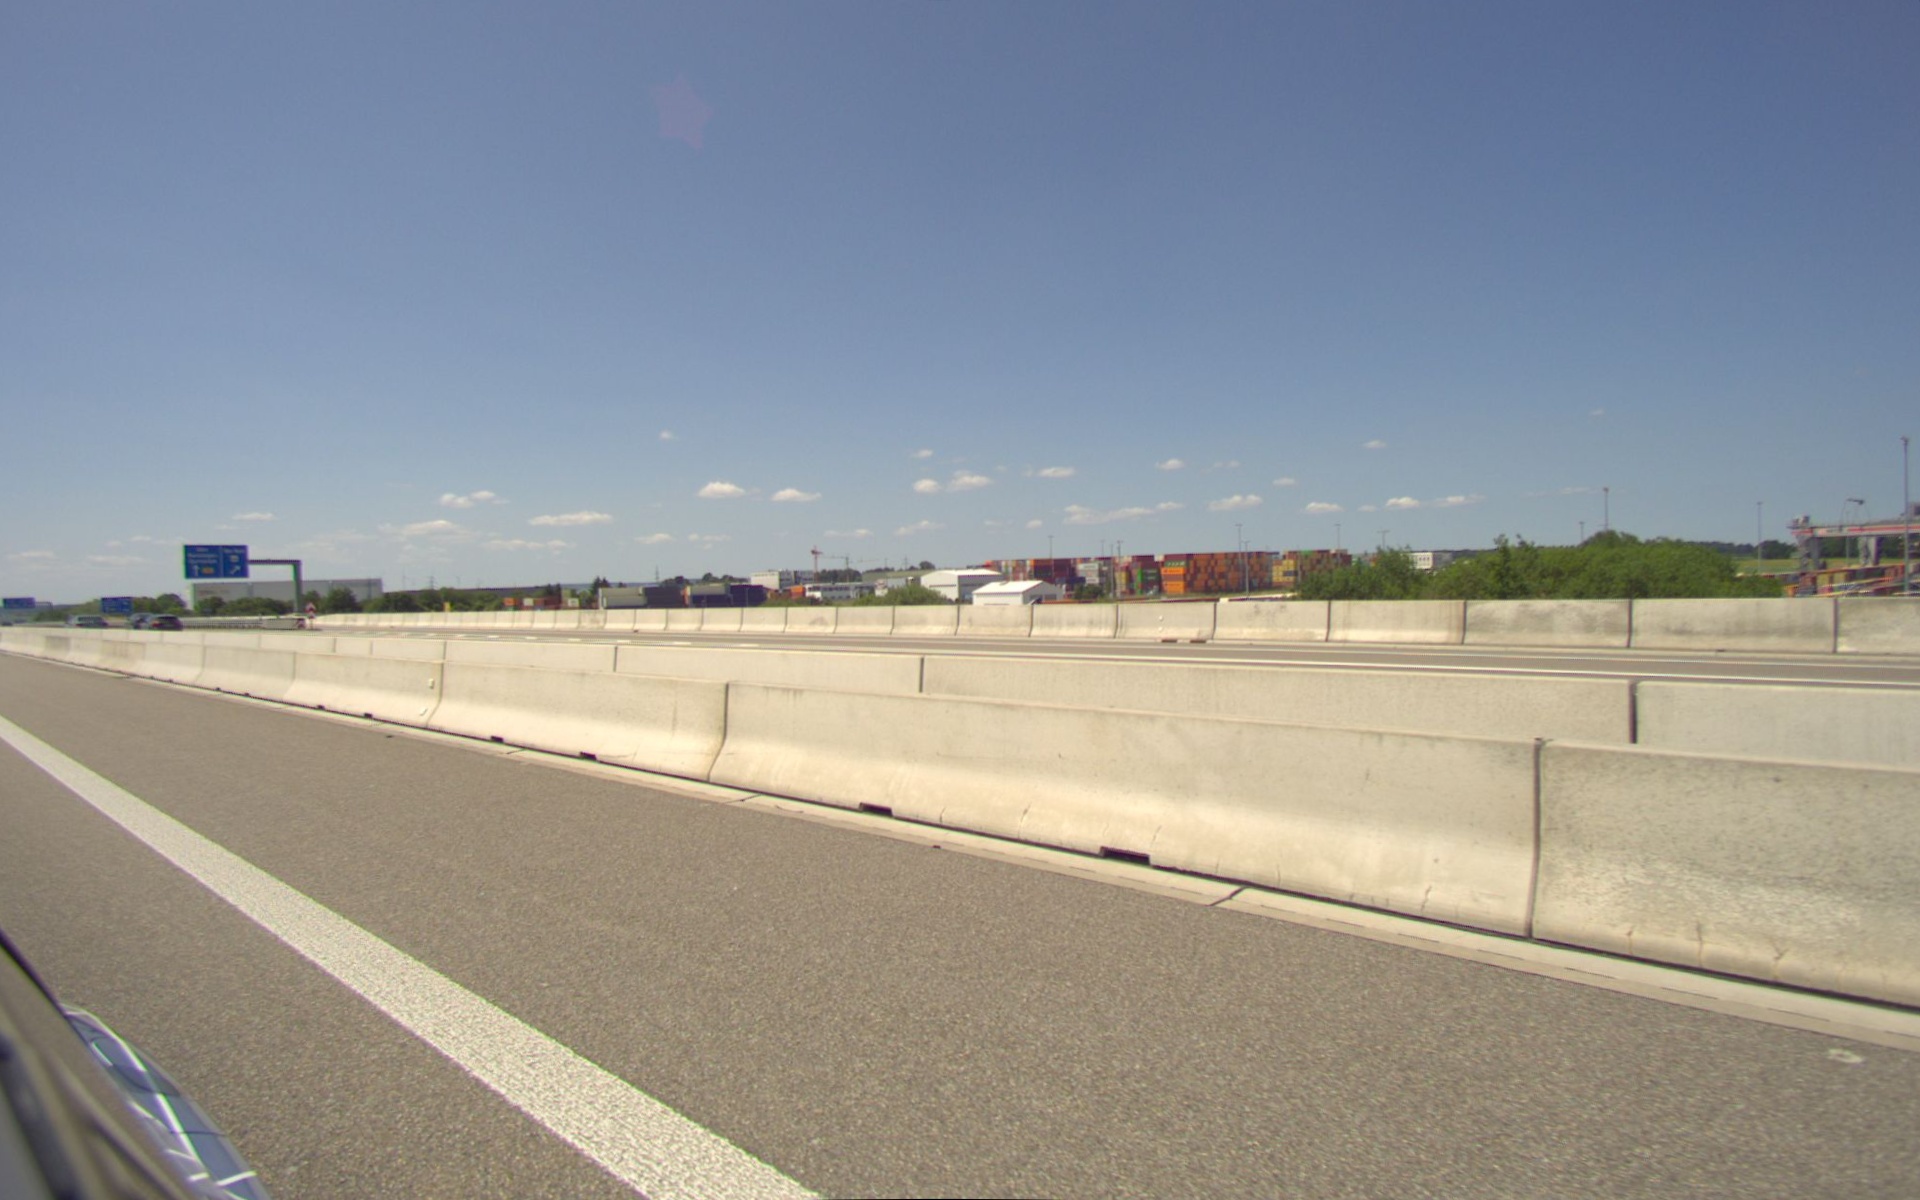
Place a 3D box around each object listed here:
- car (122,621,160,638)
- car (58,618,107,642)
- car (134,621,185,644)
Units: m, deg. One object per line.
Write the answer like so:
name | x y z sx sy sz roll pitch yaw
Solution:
car | -71.864 2.594 88.750 4.549 1.431 1.891 -2 0 42
car | -56.451 1.924 65.100 4.524 1.431 1.823 -1 0 42
car | -54.056 2.168 68.314 4.907 1.431 1.892 -1 0 42
